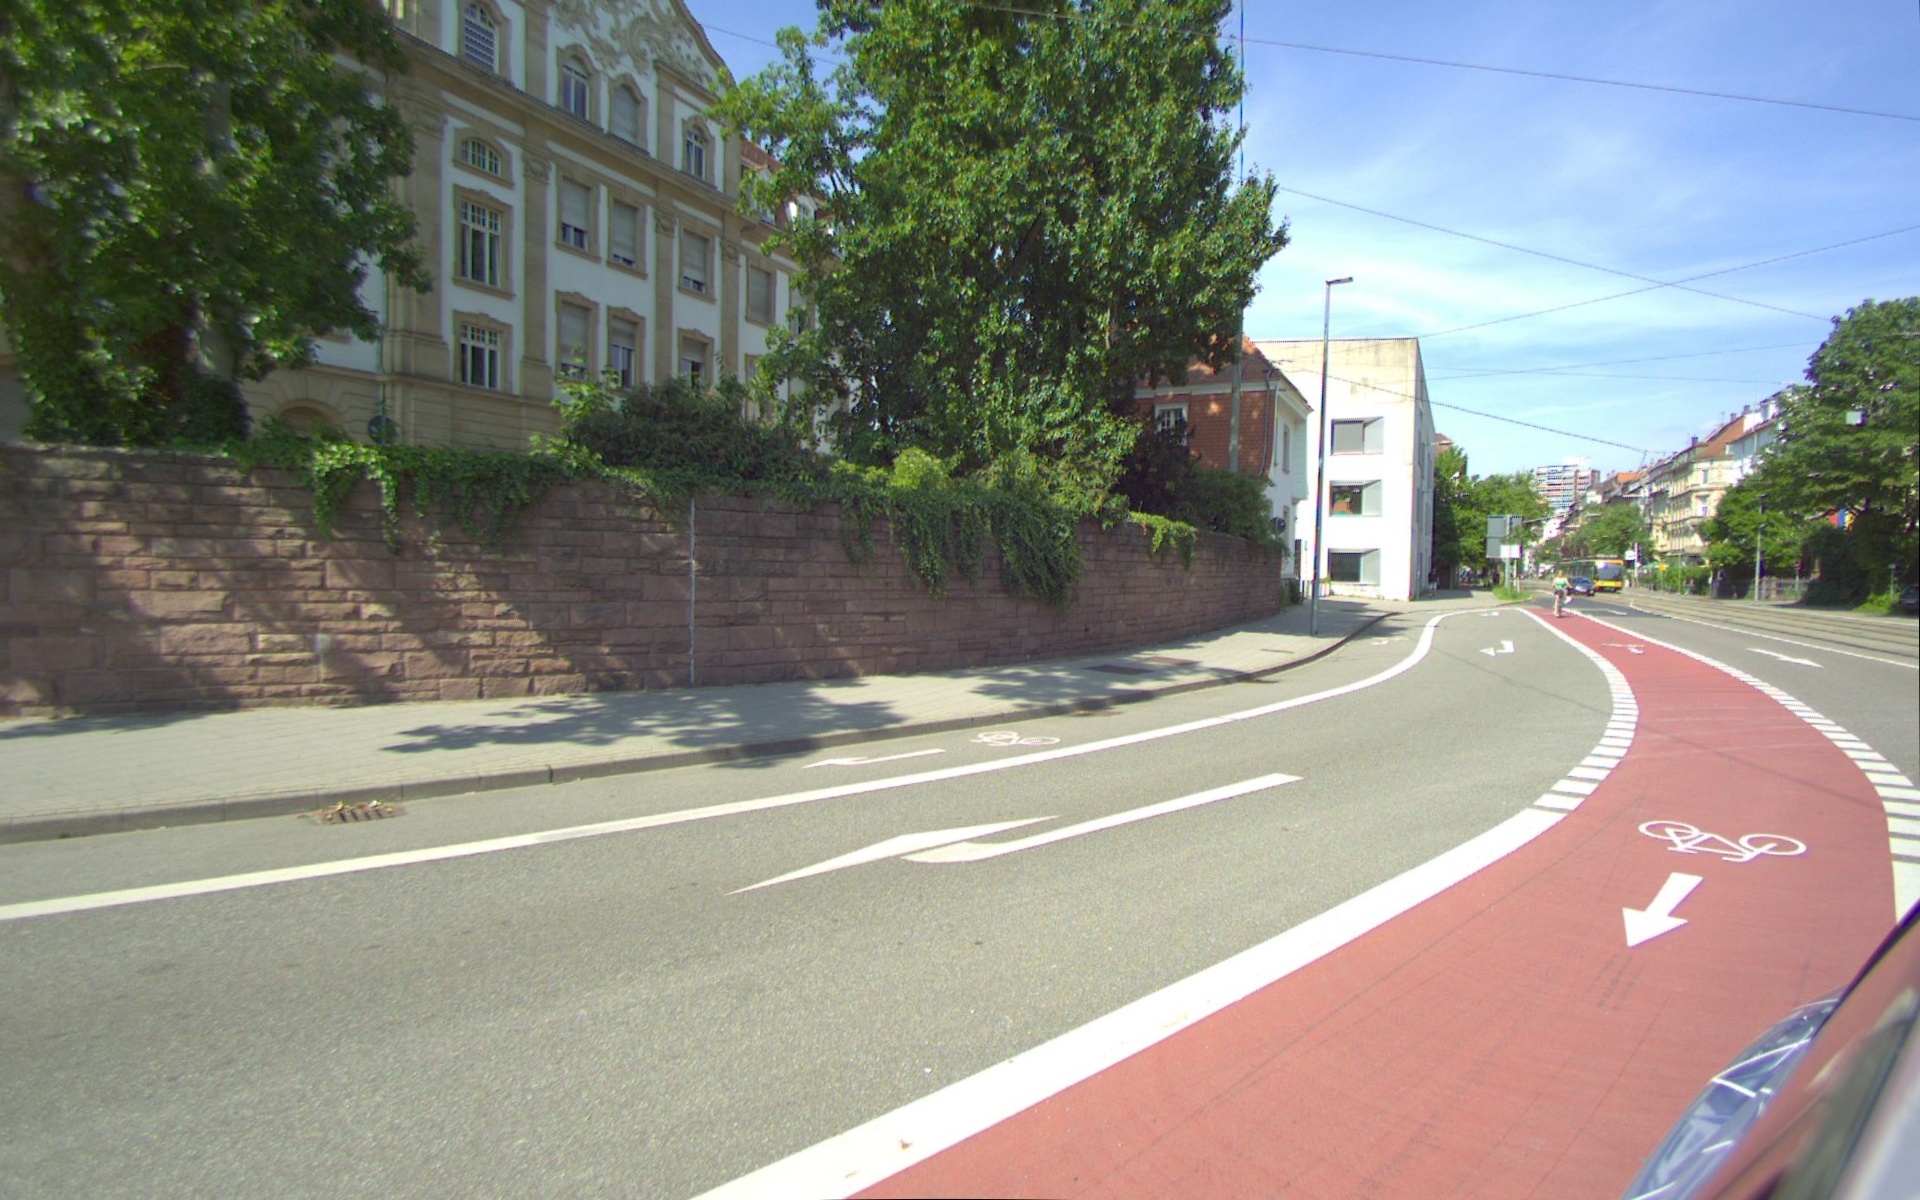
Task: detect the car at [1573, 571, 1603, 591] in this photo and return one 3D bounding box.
[{"bbox_3d":[47.283,-1.456,76.263,1.789,1.393,4.230,3,3,31],"label":"car"}]

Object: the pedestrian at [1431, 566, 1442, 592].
[{"bbox_3d":[28.686,-1.277,60.977,0.544,1.587,0.923,2,2,26],"label":"pedestrian"}]

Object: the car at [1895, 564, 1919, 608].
[{"bbox_3d":[46.215,-0.600,46.748,3.961,2.038,1.982,3,2,27],"label":"car"}]

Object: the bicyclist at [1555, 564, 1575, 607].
[{"bbox_3d":[22.352,-0.524,37.387,0.583,1.567,0.922,-1,0,30],"label":"bicyclist"}]

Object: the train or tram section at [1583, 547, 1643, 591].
[{"bbox_3d":[62.332,-2.953,96.925,3.185,3.907,14.453,2,2,27],"label":"train or tram section"}]

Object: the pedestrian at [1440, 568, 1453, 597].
[{"bbox_3d":[29.212,-1.078,60.736,0.644,1.728,0.705,2,2,27],"label":"pedestrian"}]

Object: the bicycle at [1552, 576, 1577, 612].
[{"bbox_3d":[22.275,-0.239,37.292,0.680,1.237,2.164,2,2,29],"label":"bicycle"}]
